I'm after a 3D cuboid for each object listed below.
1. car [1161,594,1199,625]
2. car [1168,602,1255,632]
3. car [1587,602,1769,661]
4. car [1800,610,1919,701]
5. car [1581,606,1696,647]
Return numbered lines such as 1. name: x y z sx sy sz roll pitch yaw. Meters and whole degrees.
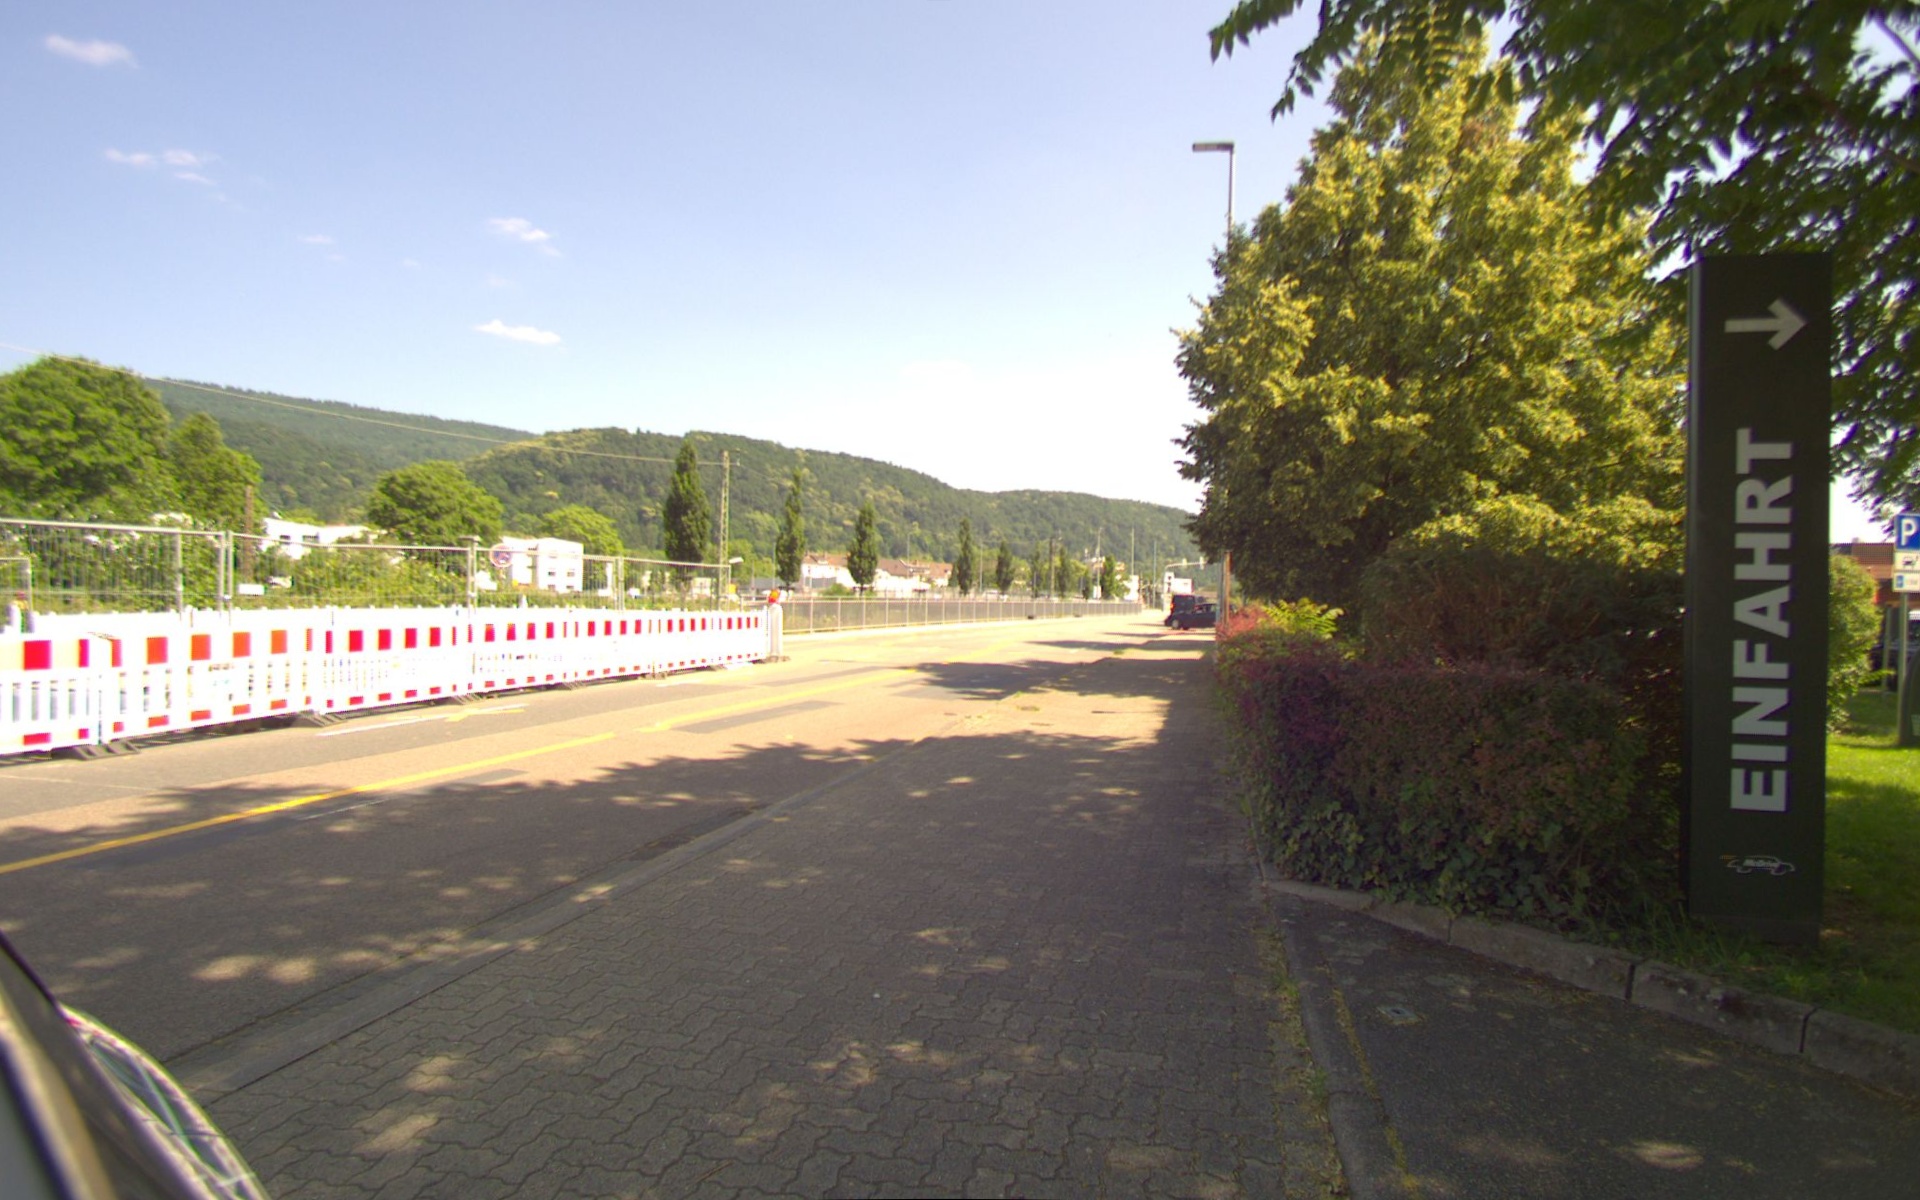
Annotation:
1. car: 15.487 0.630 71.074 2.165 1.983 5.413 1 1 17
2. car: 13.032 0.880 52.525 3.987 1.475 1.860 -2 0 32
3. car: 22.221 0.950 31.452 4.253 1.698 1.862 1 0 1
4. car: 16.756 0.958 17.341 1.844 1.463 4.347 3 0 14
5. car: 27.680 1.035 41.462 1.894 1.564 4.141 1 0 0
